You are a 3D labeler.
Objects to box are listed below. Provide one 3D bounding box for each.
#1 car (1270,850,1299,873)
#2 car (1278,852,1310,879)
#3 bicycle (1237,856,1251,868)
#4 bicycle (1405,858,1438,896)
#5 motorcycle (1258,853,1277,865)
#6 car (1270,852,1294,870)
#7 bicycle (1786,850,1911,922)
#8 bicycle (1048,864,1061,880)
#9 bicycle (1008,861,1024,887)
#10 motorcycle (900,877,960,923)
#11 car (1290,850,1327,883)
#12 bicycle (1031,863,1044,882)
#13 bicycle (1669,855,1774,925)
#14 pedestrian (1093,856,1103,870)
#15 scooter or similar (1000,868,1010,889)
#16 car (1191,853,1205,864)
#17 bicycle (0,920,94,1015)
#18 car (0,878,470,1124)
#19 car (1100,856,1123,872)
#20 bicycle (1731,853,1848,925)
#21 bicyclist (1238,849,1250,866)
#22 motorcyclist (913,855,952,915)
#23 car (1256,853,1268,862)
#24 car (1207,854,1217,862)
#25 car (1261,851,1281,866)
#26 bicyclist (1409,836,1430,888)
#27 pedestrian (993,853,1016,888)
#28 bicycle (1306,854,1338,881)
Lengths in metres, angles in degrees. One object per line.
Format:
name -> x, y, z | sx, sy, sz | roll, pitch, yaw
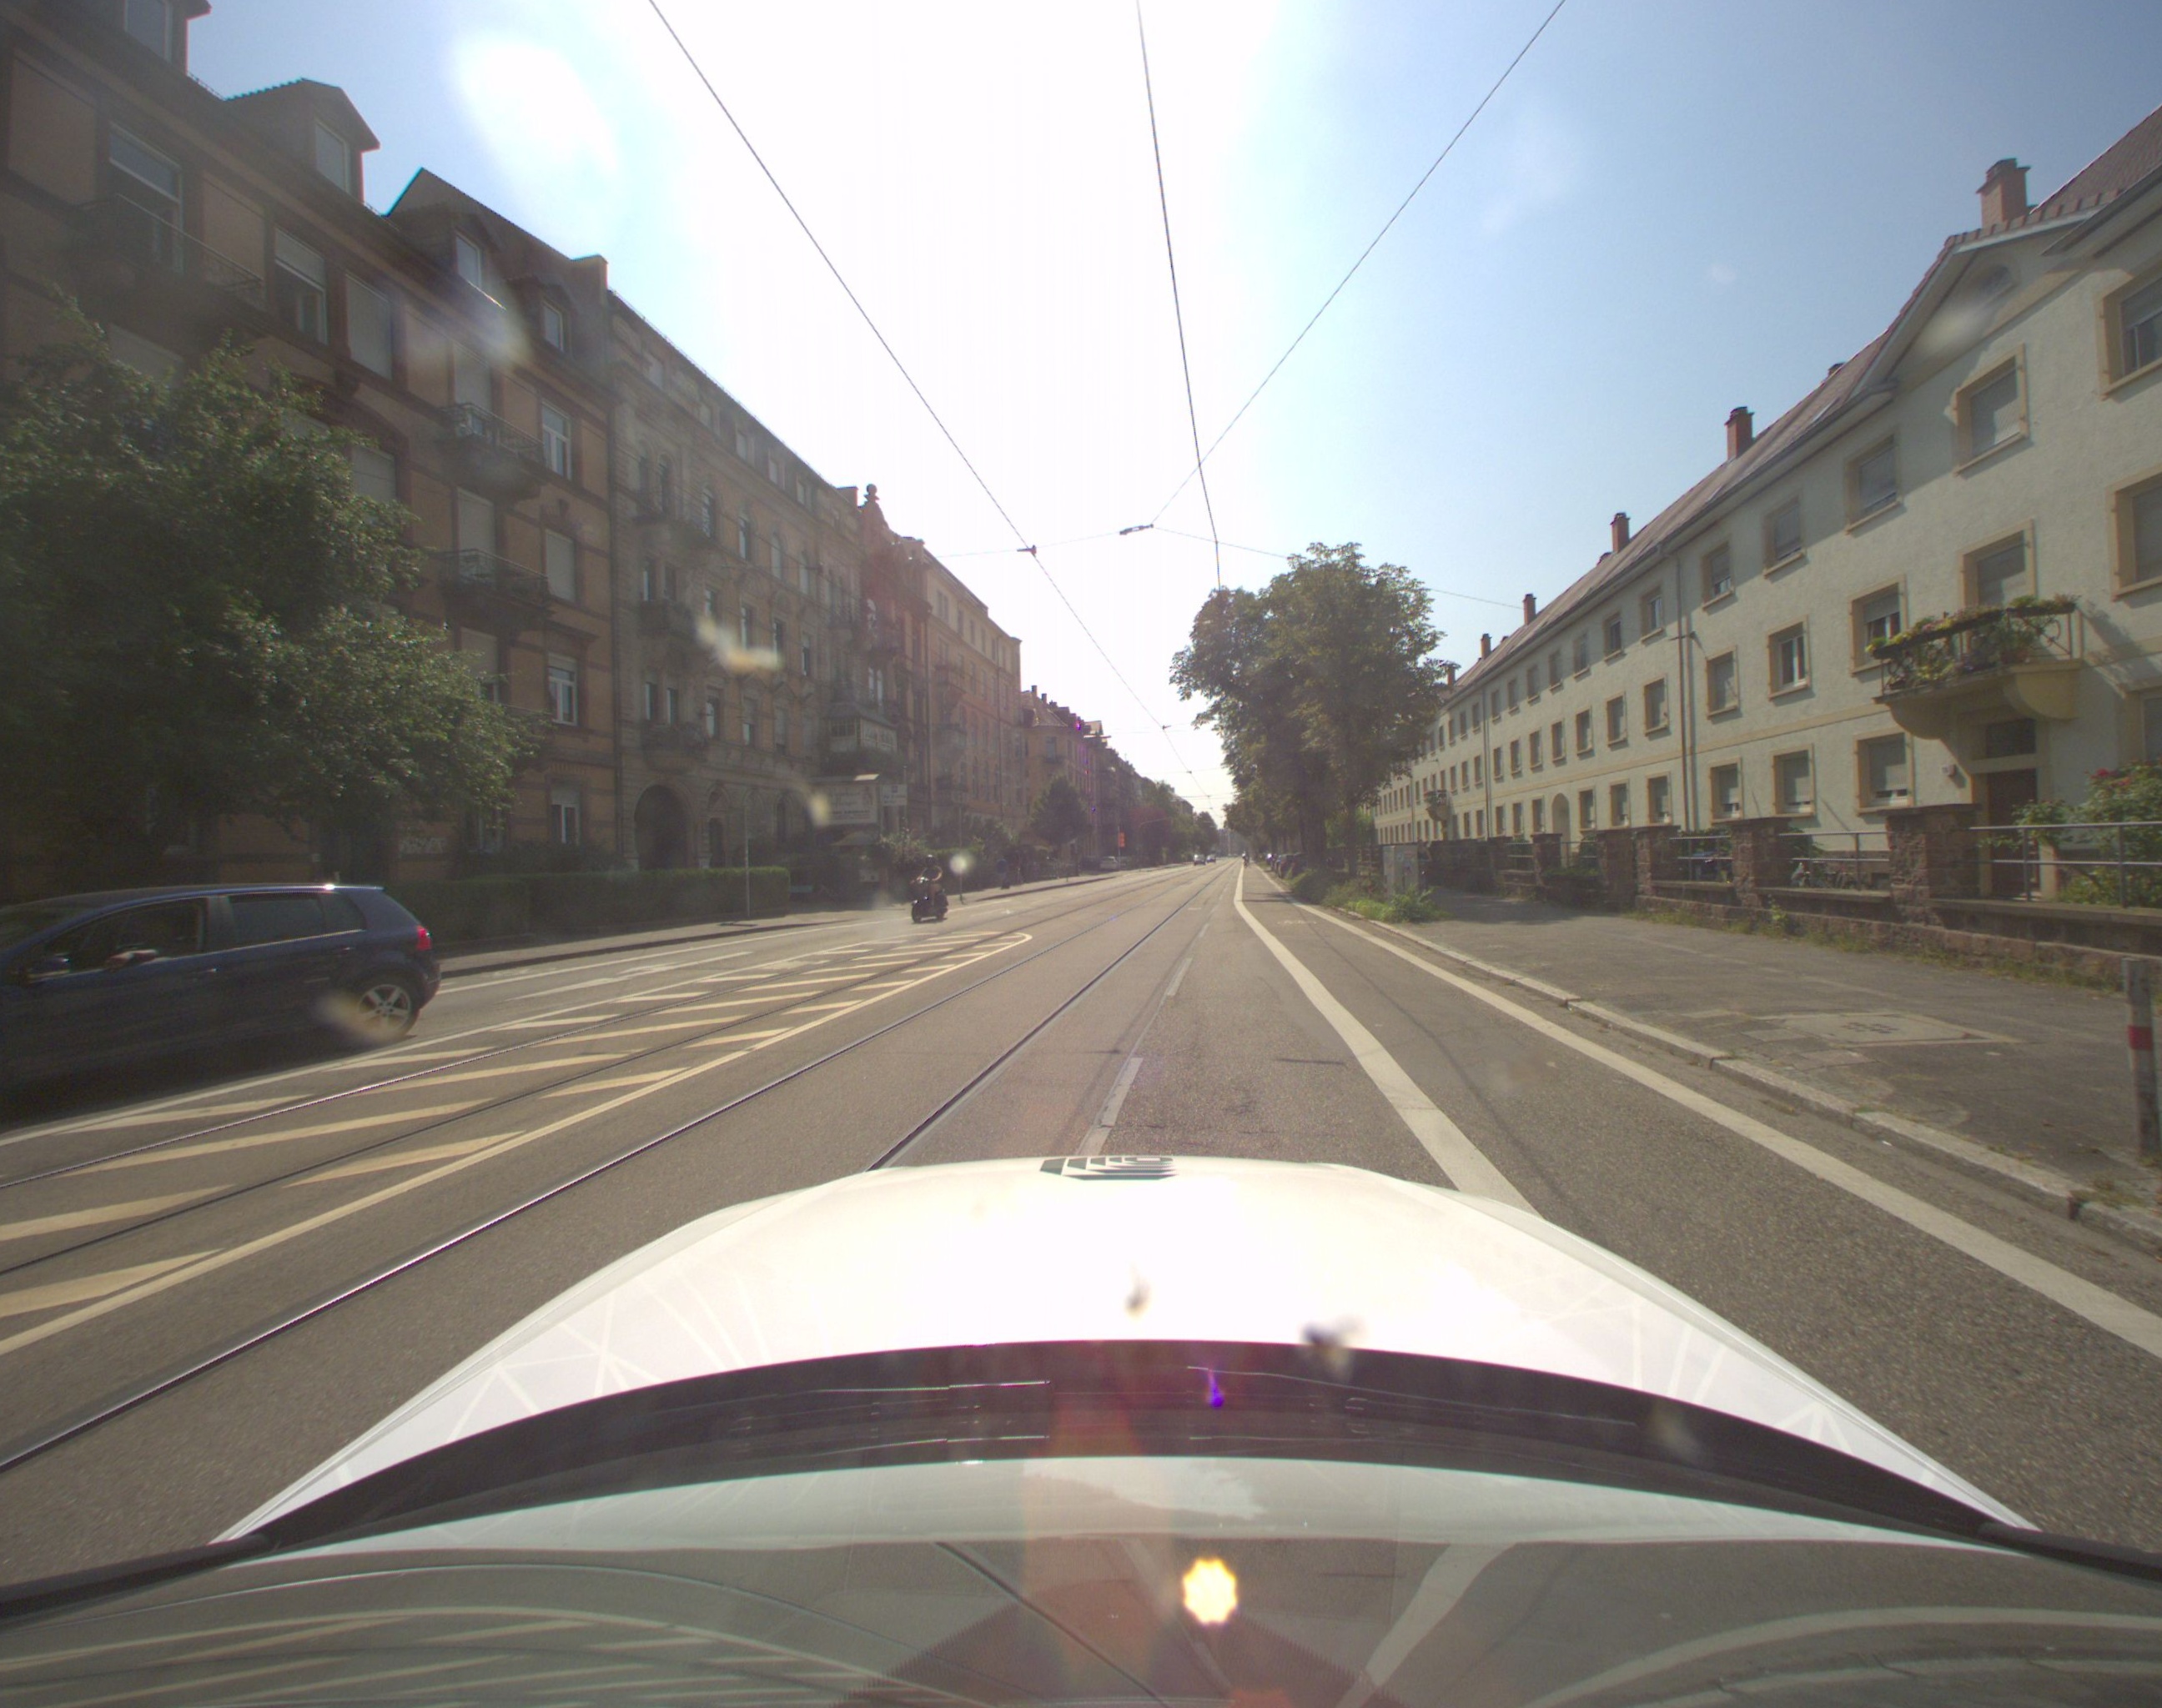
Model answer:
car -> 15.012, 0.557, 60.182 | 1.744, 1.477, 4.472 | -6, -2, 12
car -> 12.881, 0.691, 49.418 | 1.606, 1.477, 4.052 | -3, -1, 12
bicycle -> 17.309, 0.843, 86.368 | 1.139, 1.269, 2.724 | -2, 0, 17
bicycle -> 9.968, 0.656, 23.890 | 0.437, 1.047, 1.833 | -2, 0, 8
motorcycle -> 25.425, 0.704, 111.038 | 0.973, 1.540, 2.319 | -1, -3, -37
car -> 17.325, 0.595, 70.387 | 1.744, 1.477, 4.399 | -2, 0, 11
bicycle -> 12.103, 0.478, 12.917 | 0.437, 1.047, 1.833 | -2, 0, 8
bicycle -> -1.792, 1.197, 55.539 | 0.387, 1.038, 1.839 | -2, 0, 12
bicycle -> -3.621, 1.097, 45.326 | 0.387, 1.406, 1.587 | -2, 0, 12
motorcycle -> -3.832, 1.155, 20.922 | 0.686, 1.031, 2.165 | -2, 0, 13
car -> 11.664, 0.624, 41.645 | 1.604, 1.530, 3.515 | -3, -1, 18
bicycle -> -2.653, 1.121, 49.832 | 0.387, 1.147, 1.587 | -2, 0, 12
bicycle -> 10.278, 0.548, 13.146 | 0.437, 1.047, 1.833 | -2, 0, 8
pedestrian -> 2.003, 1.065, 95.313 | 0.886, 1.511, 0.864 | -2, -1, -20
scooter or similar -> -3.781, 1.217, 40.537 | 0.398, 0.982, 0.585 | 0, -1, 3
car -> 17.653, 0.728, 122.676 | 1.815, 1.540, 4.012 | -2, 0, 11
bicycle -> -12.254, 1.300, 8.984 | 0.484, 0.986, 1.663 | -2, 0, 14
car -> -7.357, 1.000, 6.142 | 1.714, 1.433, 4.193 | -3, 0, 15
car -> 3.362, 1.042, 88.233 | 1.982, 1.594, 4.369 | -2, -1, 8
bicycle -> 11.096, 0.514, 12.826 | 0.437, 1.047, 1.833 | -2, 0, 8
bicyclist -> 17.291, 0.360, 86.371 | 1.116, 1.837, 0.960 | -2, -1, 17
motorcyclist -> -3.821, 0.793, 21.019 | 0.685, 1.511, 0.775 | -2, -1, 12
car -> 31.348, 0.583, 141.449 | 1.829, 1.532, 4.794 | -3, -1, 11
car -> 25.433, 0.828, 158.046 | 1.721, 1.490, 4.012 | -2, 0, 11
car -> 20.513, 0.480, 87.918 | 1.880, 1.477, 4.855 | -2, 0, 11
bicyclist -> 9.970, 0.229, 24.005 | 0.435, 1.512, 0.473 | -2, -1, 8
pedestrian -> -3.876, 0.823, 41.140 | 0.877, 1.756, 0.873 | -2, -1, 11
bicycle -> 10.574, 0.594, 35.743 | 1.394, 1.108, 0.386 | -2, -1, -25
